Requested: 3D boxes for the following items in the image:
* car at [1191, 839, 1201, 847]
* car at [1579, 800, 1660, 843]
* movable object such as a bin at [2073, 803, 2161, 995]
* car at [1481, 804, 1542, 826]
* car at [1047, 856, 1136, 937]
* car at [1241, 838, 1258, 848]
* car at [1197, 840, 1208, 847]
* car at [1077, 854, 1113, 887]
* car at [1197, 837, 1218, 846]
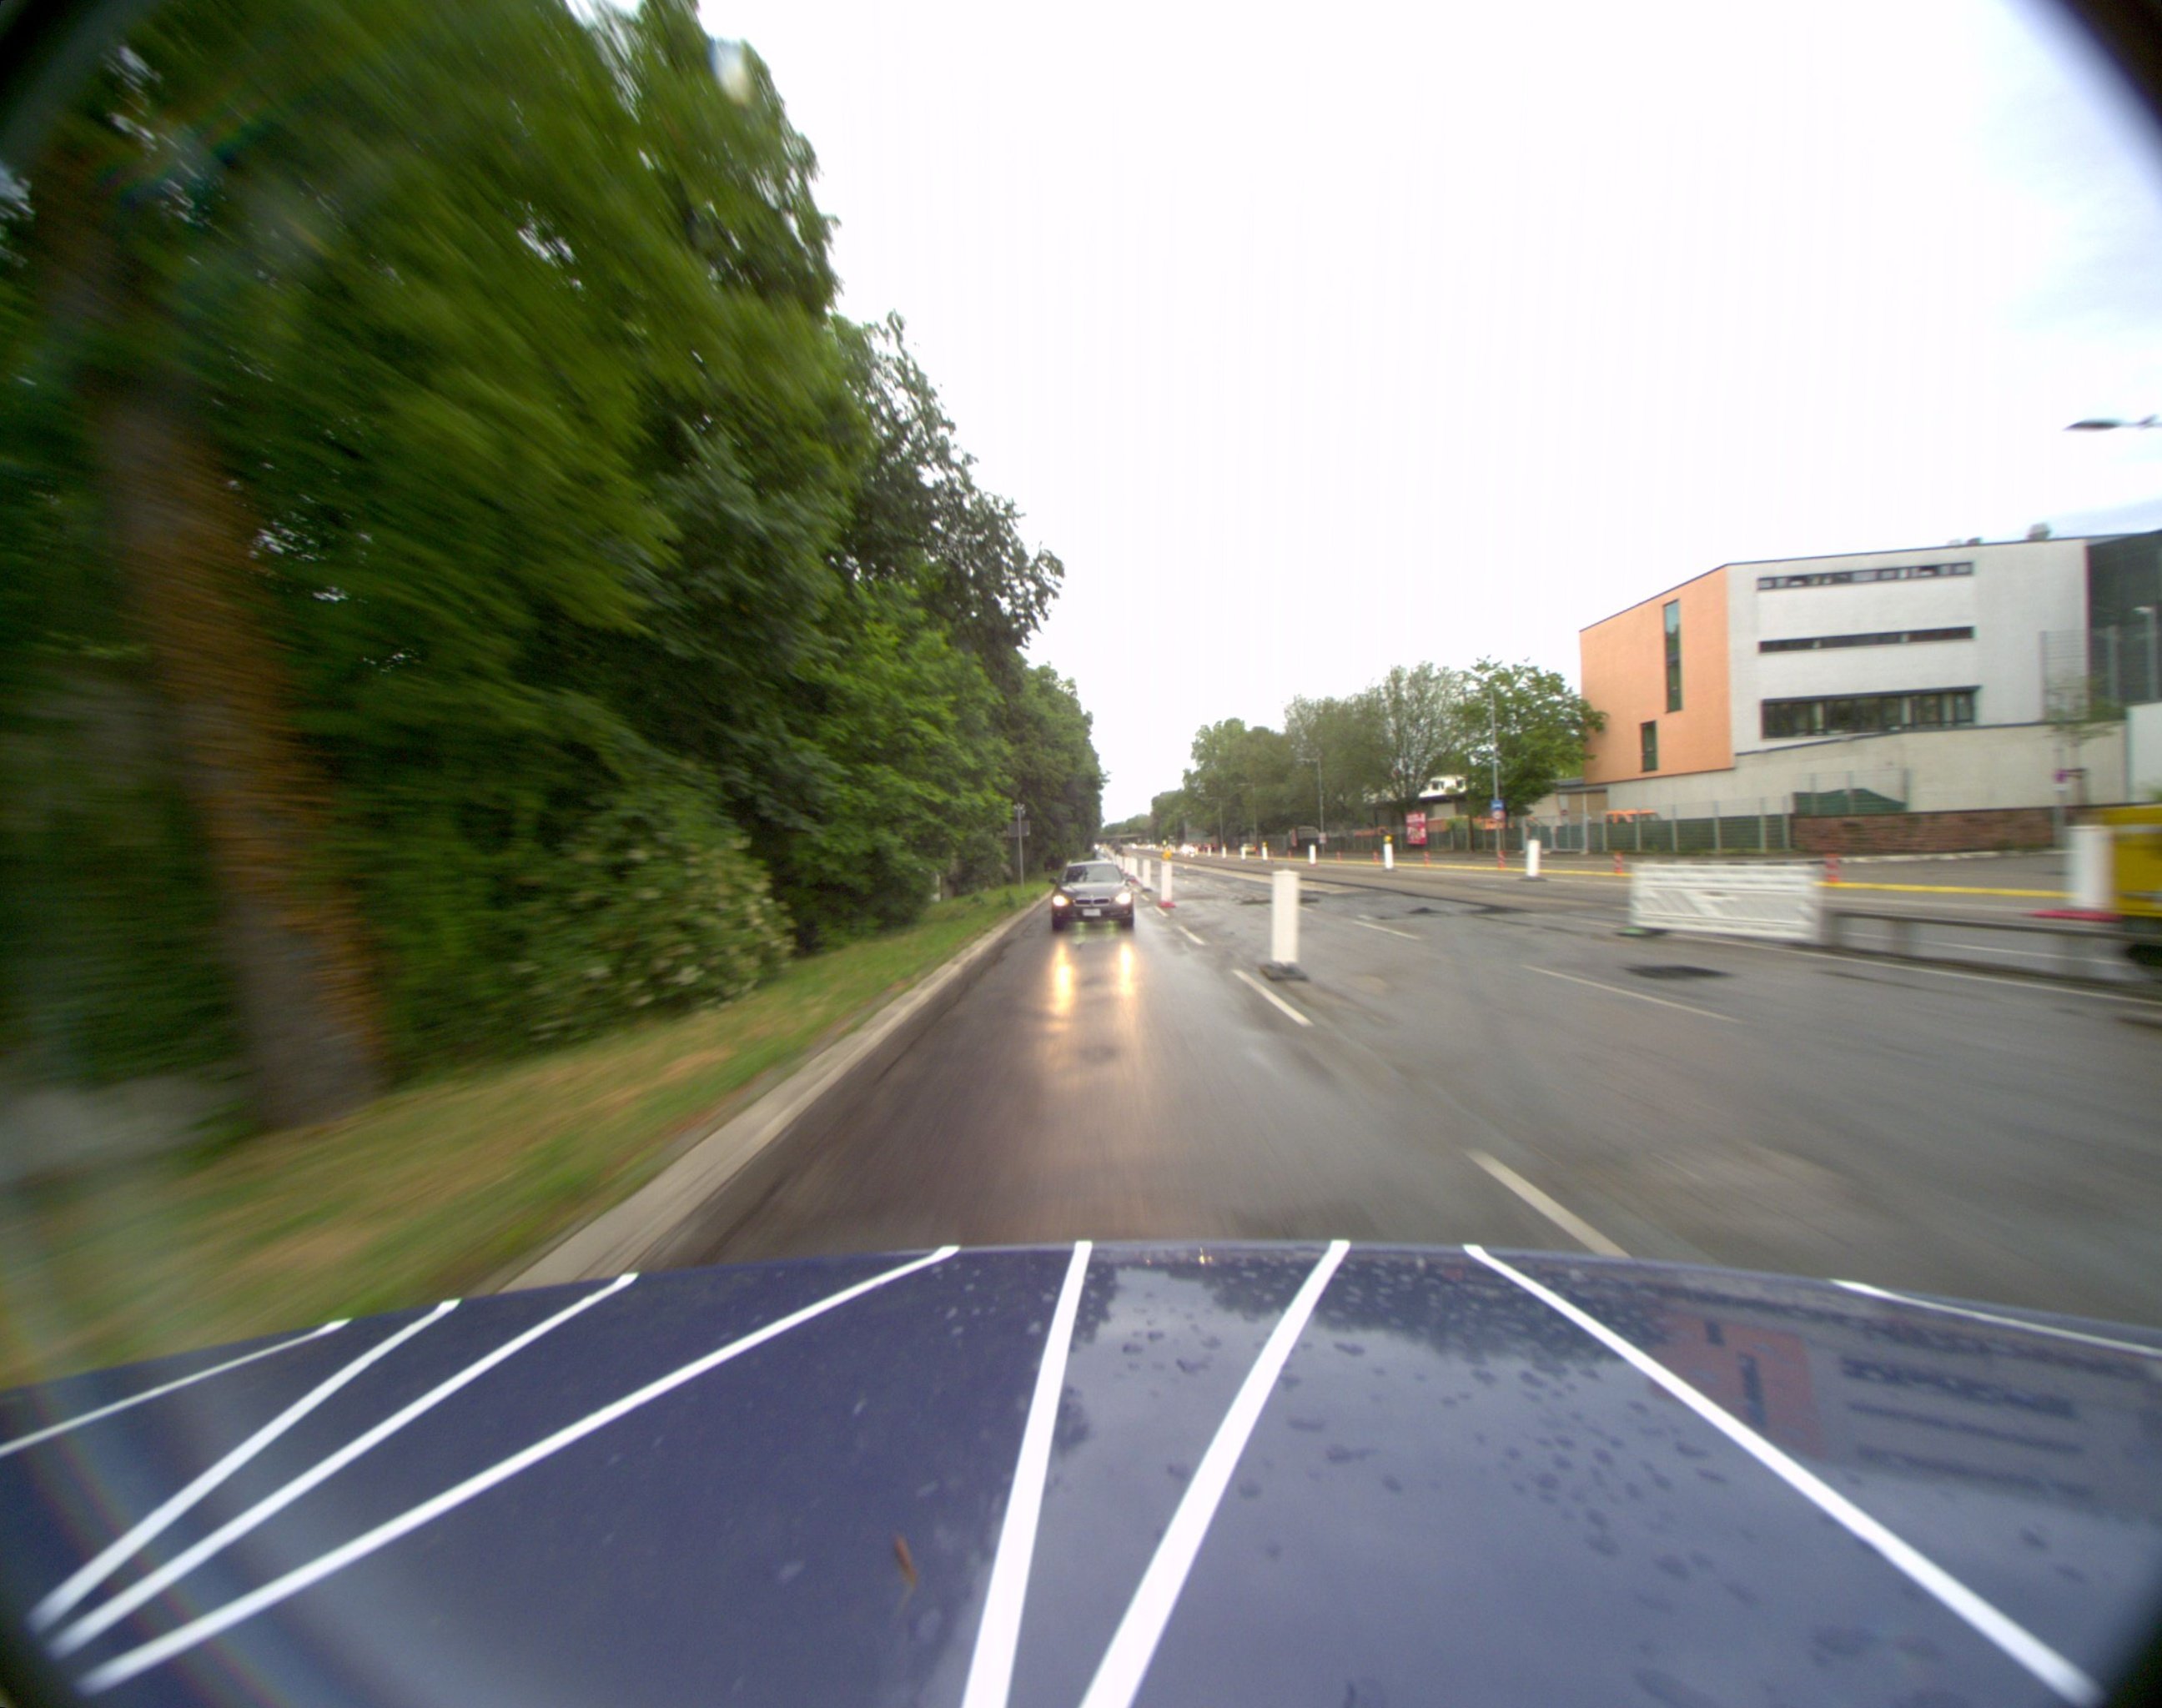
[{"bbox_3d":[26.320,-2.507,174.101,1.863,1.610,4.364,-1,1,2],"label":"car"},{"bbox_3d":[30.043,-1.764,42.540,1.614,2.158,3.999,-3,1,1],"label":"car"},{"bbox_3d":[9.813,0.378,5.873,1.086,1.635,2.438,-3,1,1],"label":"movable object such as a bin"},{"bbox_3d":[35.526,-3.229,62.726,4.012,1.519,2.003,-3,1,40],"label":"car"},{"bbox_3d":[0.294,0.879,17.881,1.742,1.454,4.457,-4,1,2],"label":"car"},{"bbox_3d":[23.987,-1.526,108.330,1.557,1.360,3.804,-2,1,1],"label":"car"},{"bbox_3d":[25.307,-2.219,158.675,1.863,1.467,3.731,-1,1,2],"label":"car"},{"bbox_3d":[0.785,0.812,40.312,1.742,1.454,4.457,-4,1,2],"label":"car"},{"bbox_3d":[24.482,-2.367,147.513,1.867,1.621,4.319,-2,1,-25],"label":"car"}]
